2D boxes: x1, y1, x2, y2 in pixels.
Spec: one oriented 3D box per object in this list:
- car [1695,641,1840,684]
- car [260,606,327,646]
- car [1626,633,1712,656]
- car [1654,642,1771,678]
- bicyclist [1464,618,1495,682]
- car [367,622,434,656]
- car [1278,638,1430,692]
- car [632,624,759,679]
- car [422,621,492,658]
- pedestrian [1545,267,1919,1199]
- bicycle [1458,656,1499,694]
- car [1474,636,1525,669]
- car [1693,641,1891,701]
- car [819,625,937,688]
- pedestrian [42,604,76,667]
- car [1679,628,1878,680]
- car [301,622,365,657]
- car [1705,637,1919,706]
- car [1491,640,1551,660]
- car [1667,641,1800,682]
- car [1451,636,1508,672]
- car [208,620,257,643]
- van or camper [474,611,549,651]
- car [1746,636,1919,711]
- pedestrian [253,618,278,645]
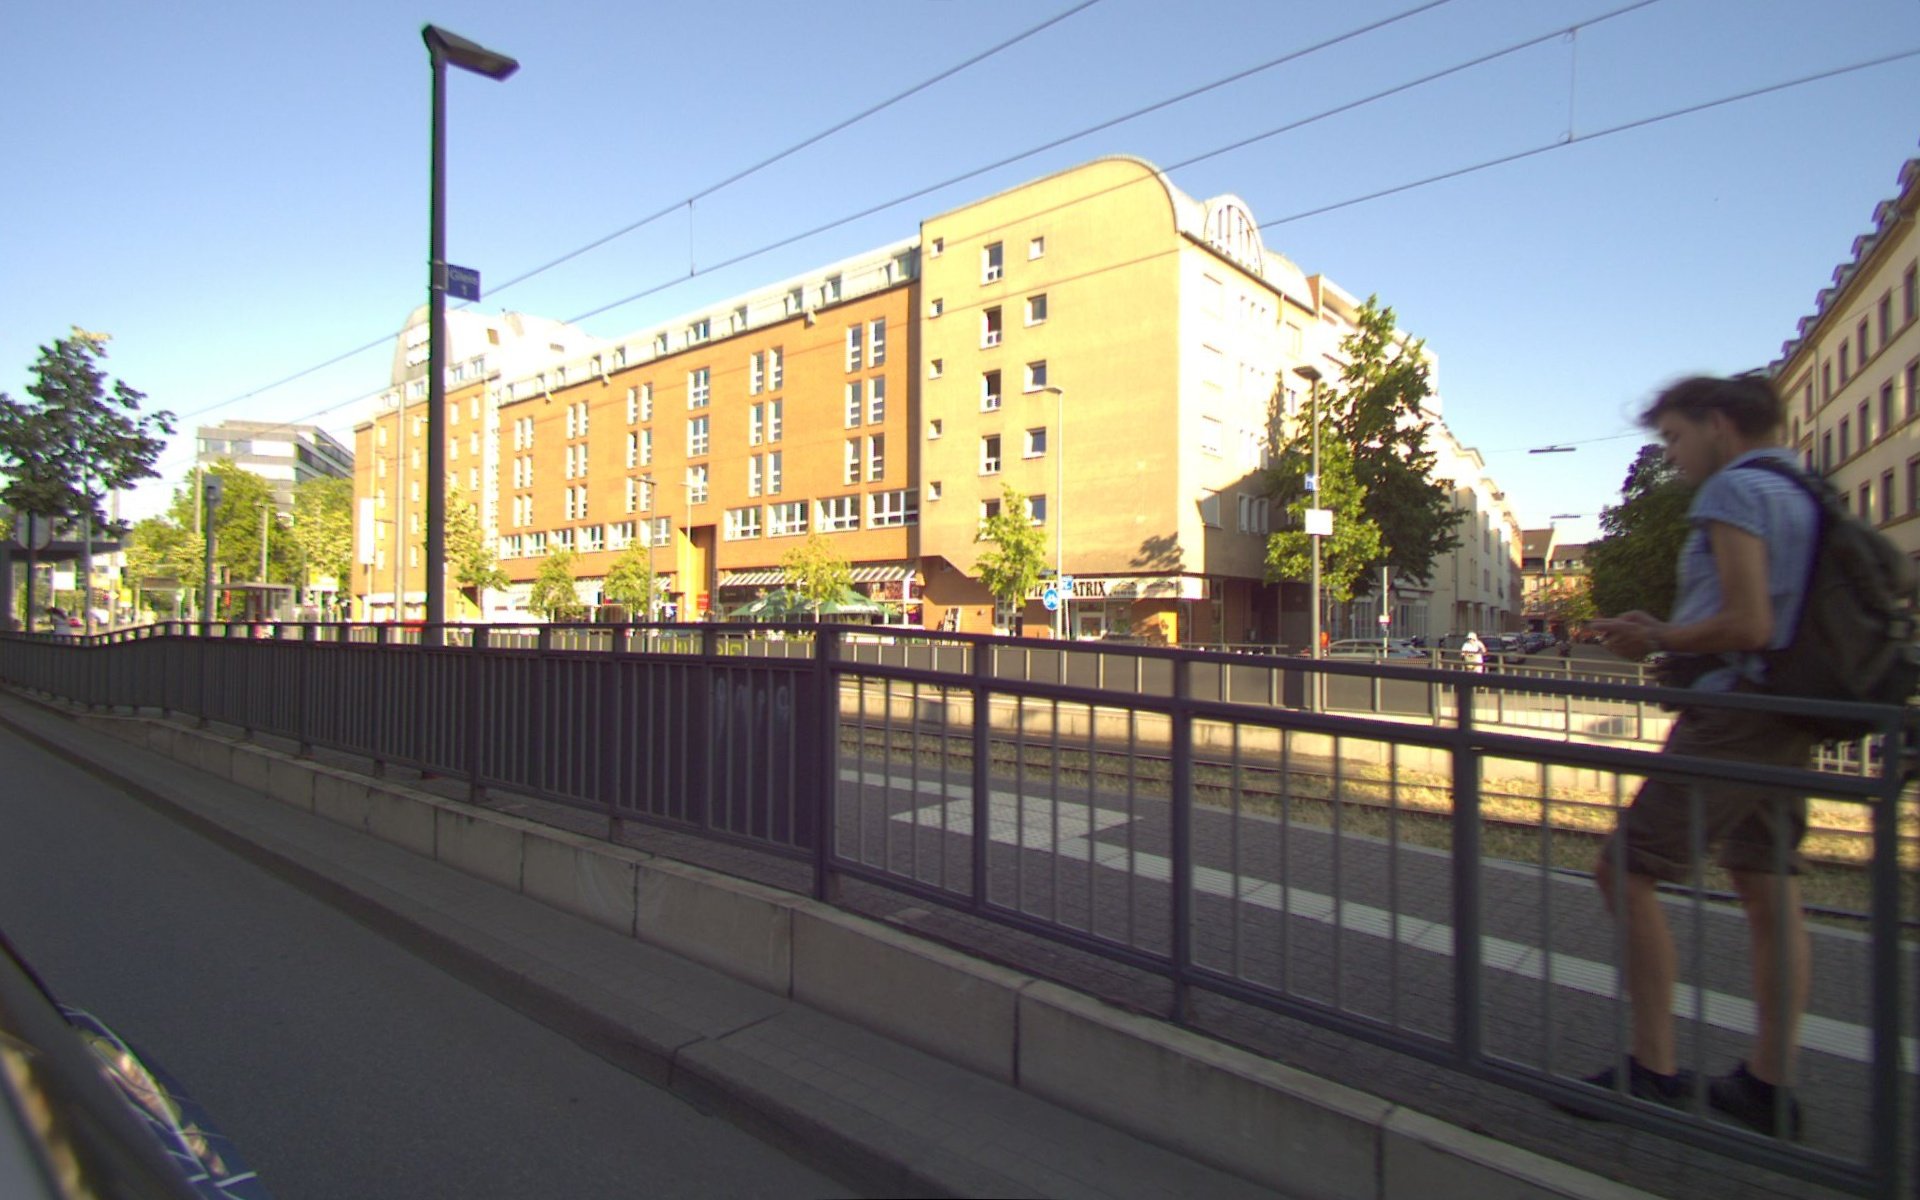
[{"bbox_3d":[29.424,2.254,37.056,3.991,1.513,1.821,-2,-3,36],"label":"car"},{"bbox_3d":[-40.430,1.574,61.378,4.916,2.376,2.025,-1,-2,40],"label":"car"},{"bbox_3d":[47.728,2.987,68.225,4.702,1.513,1.821,-2,-3,36],"label":"car"},{"bbox_3d":[32.625,2.578,44.024,3.991,1.513,1.821,-2,-3,36],"label":"car"},{"bbox_3d":[14.102,1.345,27.490,0.665,1.693,0.481,-1,-2,37],"label":"bicyclist"},{"bbox_3d":[-31.870,2.213,57.609,4.312,1.881,1.867,-2,-3,40],"label":"car"},{"bbox_3d":[12.369,1.992,31.869,4.148,1.597,1.821,-2,-3,36],"label":"car"},{"bbox_3d":[-9.173,1.724,34.888,4.943,1.730,1.971,-1,-2,44],"label":"car"},{"bbox_3d":[-26.102,2.049,52.473,4.316,1.881,1.865,-2,-3,43],"label":"car"},{"bbox_3d":[1.802,0.237,2.138,0.867,1.655,0.648,0,-1,41],"label":"pedestrian"},{"bbox_3d":[14.055,2.003,27.415,0.684,0.955,1.720,-1,-2,37],"label":"bicycle"},{"bbox_3d":[27.576,2.667,51.672,1.839,1.597,4.107,-2,-3,35],"label":"car"},{"bbox_3d":[22.429,1.875,27.513,3.991,1.513,1.821,-2,-3,36],"label":"car"},{"bbox_3d":[-2.907,1.934,35.231,1.970,2.029,4.151,2,-3,-43],"label":"car"},{"bbox_3d":[-20.219,0.792,22.712,0.406,1.396,0.425,0,-2,29],"label":"pedestrian"},{"bbox_3d":[25.497,1.672,31.777,4.702,1.513,1.821,-2,-3,36],"label":"car"},{"bbox_3d":[-35.529,2.229,57.325,4.313,1.881,1.866,-2,-3,41],"label":"car"},{"bbox_3d":[21.094,1.721,25.221,3.991,1.597,1.821,-2,-3,36],"label":"car"},{"bbox_3d":[44.452,3.951,80.206,3.991,1.513,1.821,-2,-3,36],"label":"car"},{"bbox_3d":[29.884,2.339,39.283,3.991,1.513,1.821,-2,-3,36],"label":"car"},{"bbox_3d":[24.545,2.517,47.753,1.839,1.597,4.107,-2,-3,35],"label":"car"},{"bbox_3d":[-51.838,2.264,72.104,3.995,1.544,1.867,-2,-3,39],"label":"car"},{"bbox_3d":[-26.554,1.867,59.838,5.614,2.186,1.972,-3,-4,42],"label":"van or camper"},{"bbox_3d":[20.356,1.619,22.738,4.121,1.597,1.821,-2,-3,36],"label":"car"},{"bbox_3d":[-30.936,1.402,45.092,0.905,1.199,0.666,-1,-2,40],"label":"pedestrian"}]
